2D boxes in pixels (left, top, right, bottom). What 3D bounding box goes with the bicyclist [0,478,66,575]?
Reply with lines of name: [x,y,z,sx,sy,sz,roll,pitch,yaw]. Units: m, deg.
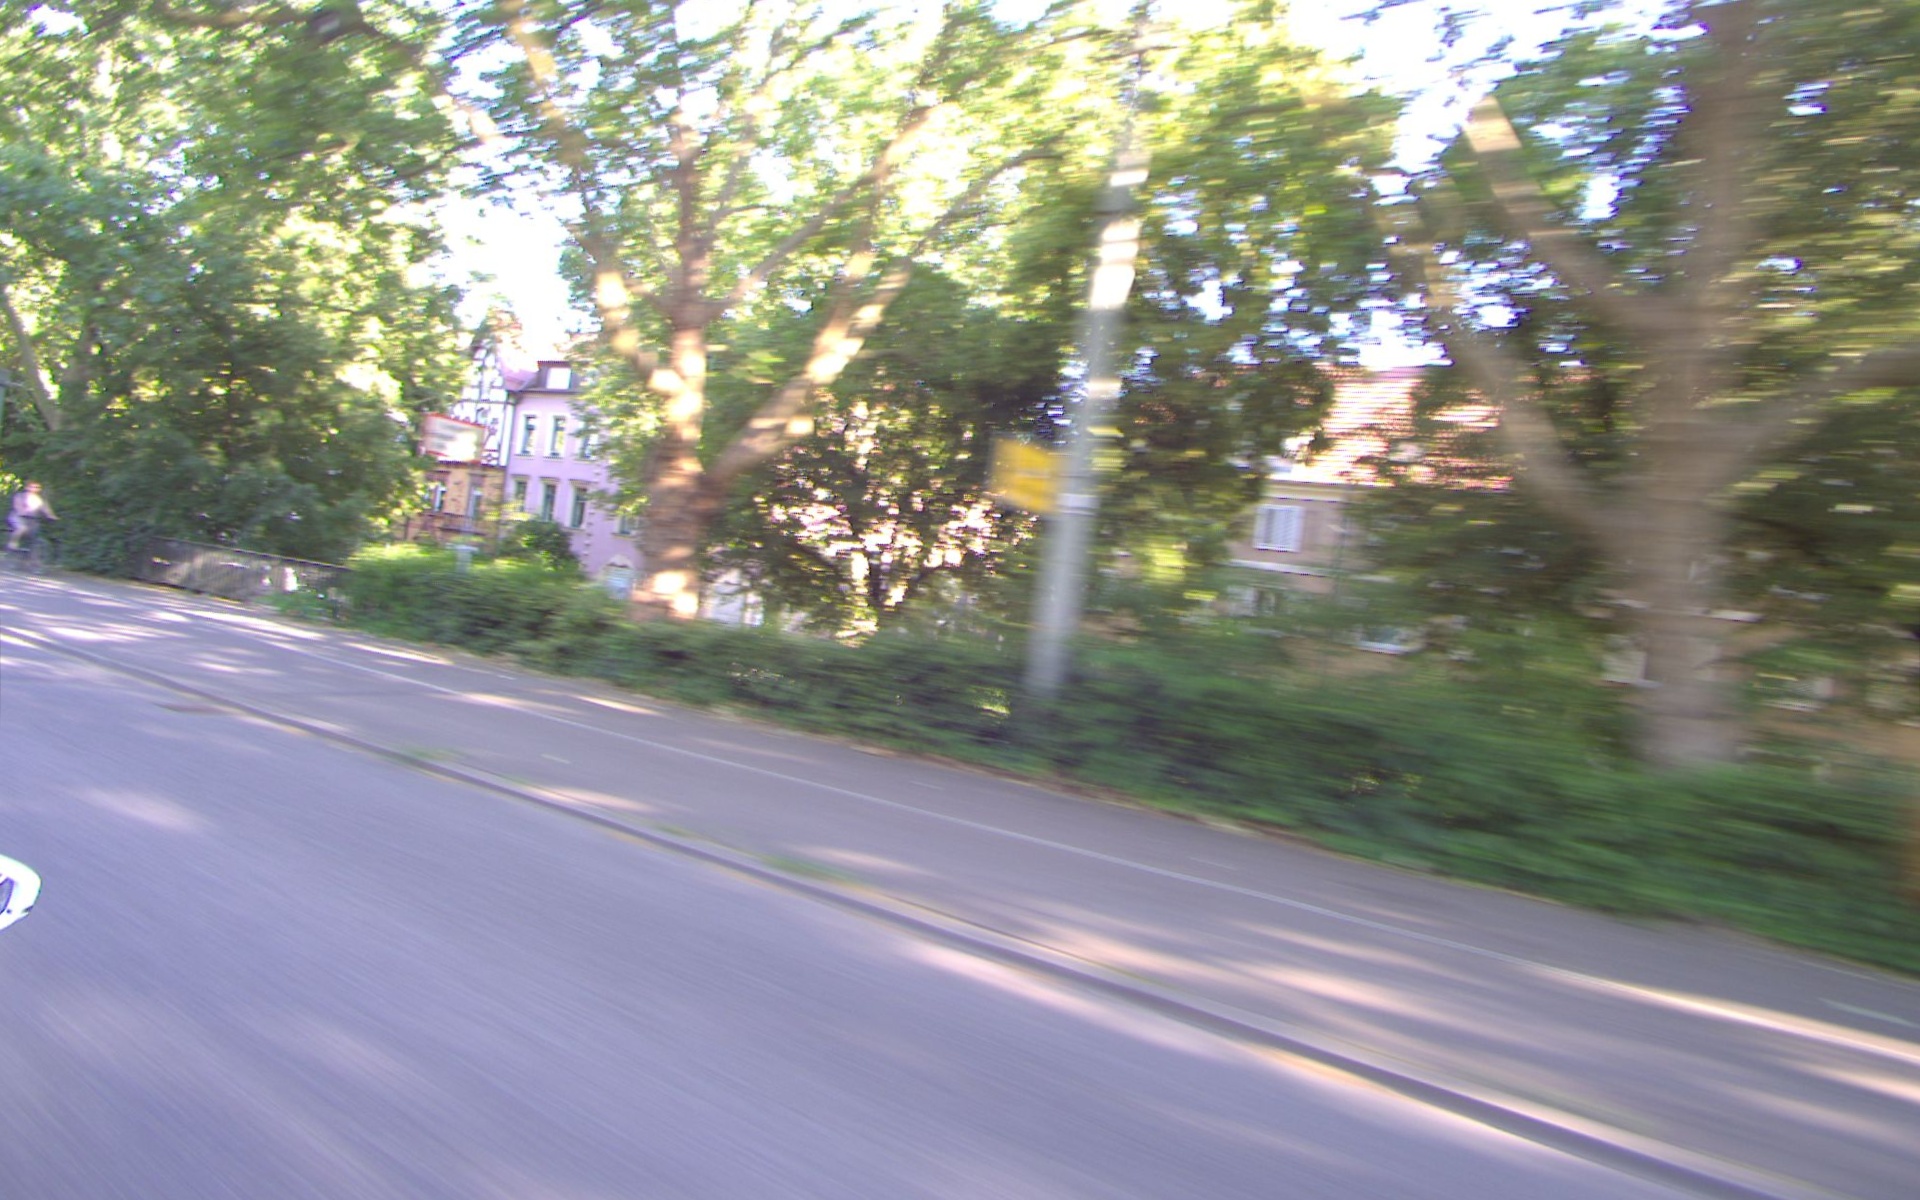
bicyclist: [-18.468,-1.456,19.924,1.062,1.749,0.700,7,0,30]

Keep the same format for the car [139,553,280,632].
car: [-23.297,-0.243,31.206,4.030,1.833,1.909,7,-2,30]

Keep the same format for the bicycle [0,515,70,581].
bicycle: [-18.518,-1.052,19.922,1.897,1.121,0.700,7,0,31]
